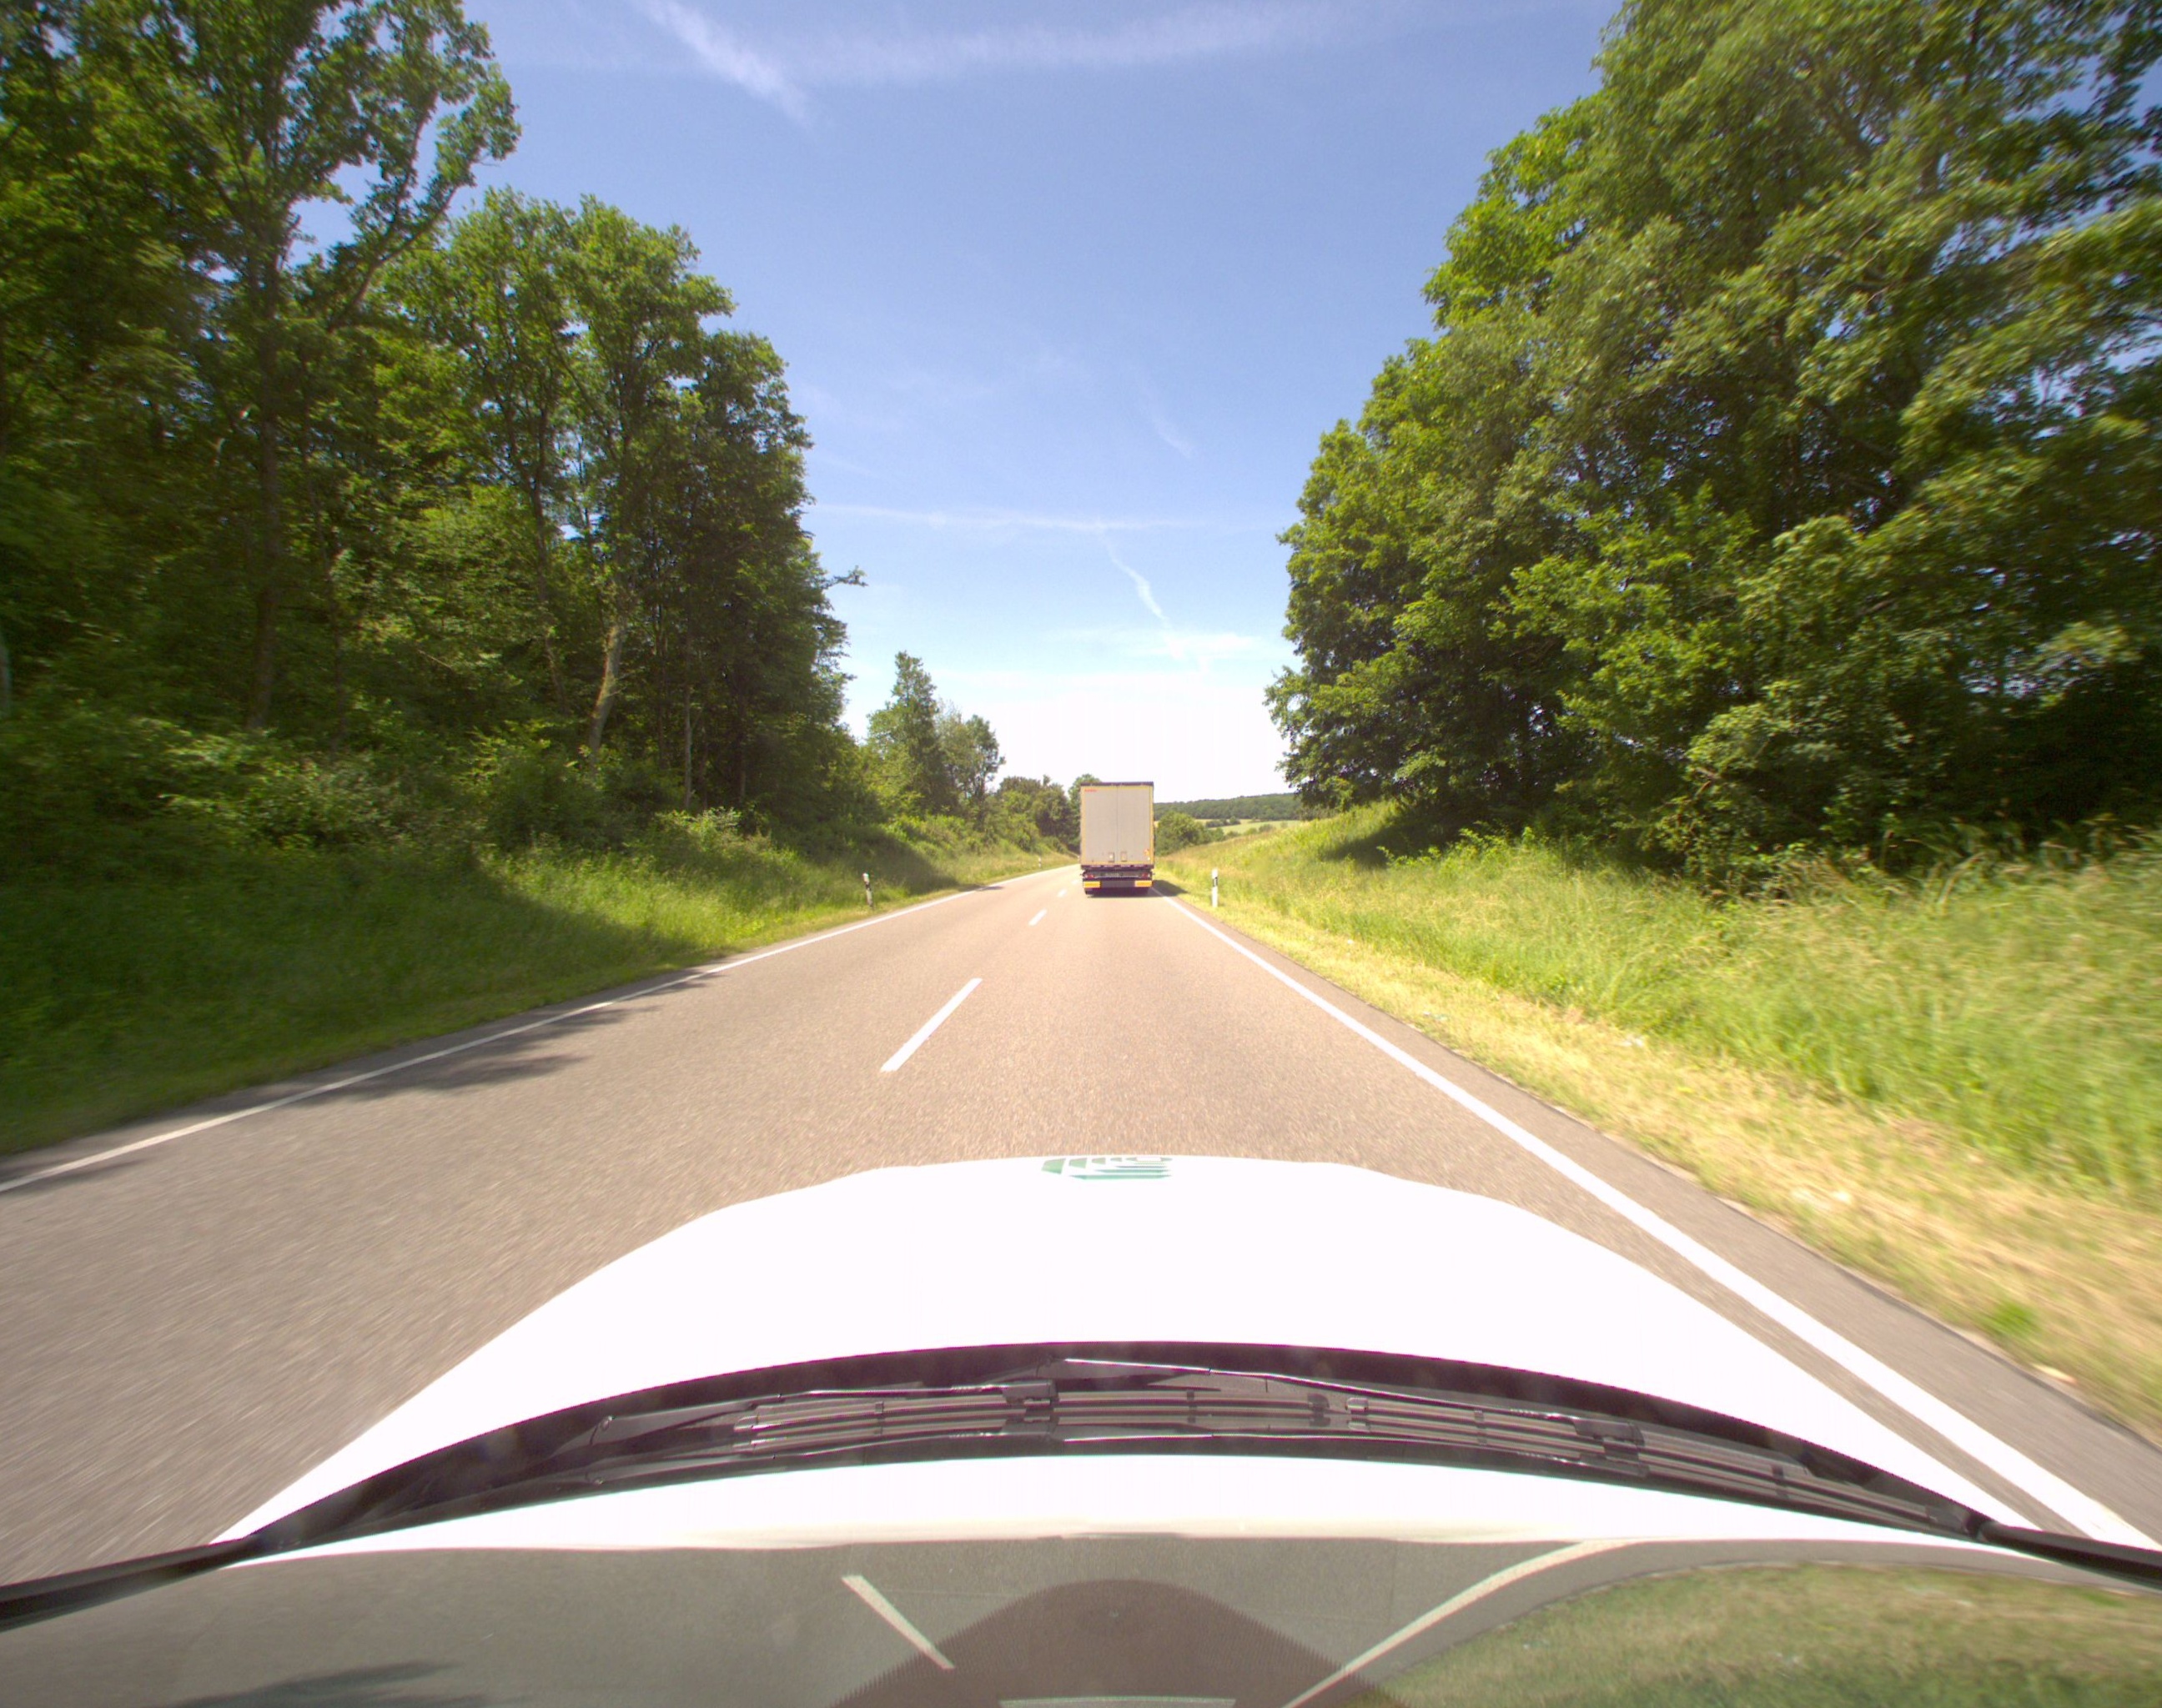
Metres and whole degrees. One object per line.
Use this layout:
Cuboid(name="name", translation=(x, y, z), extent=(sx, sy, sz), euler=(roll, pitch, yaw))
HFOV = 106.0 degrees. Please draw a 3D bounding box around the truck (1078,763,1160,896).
Cuboid(name="truck", translation=(1.491, -0.842, 33.742), extent=(2.807, 4.532, 11.772), euler=(0, 0, 2))
